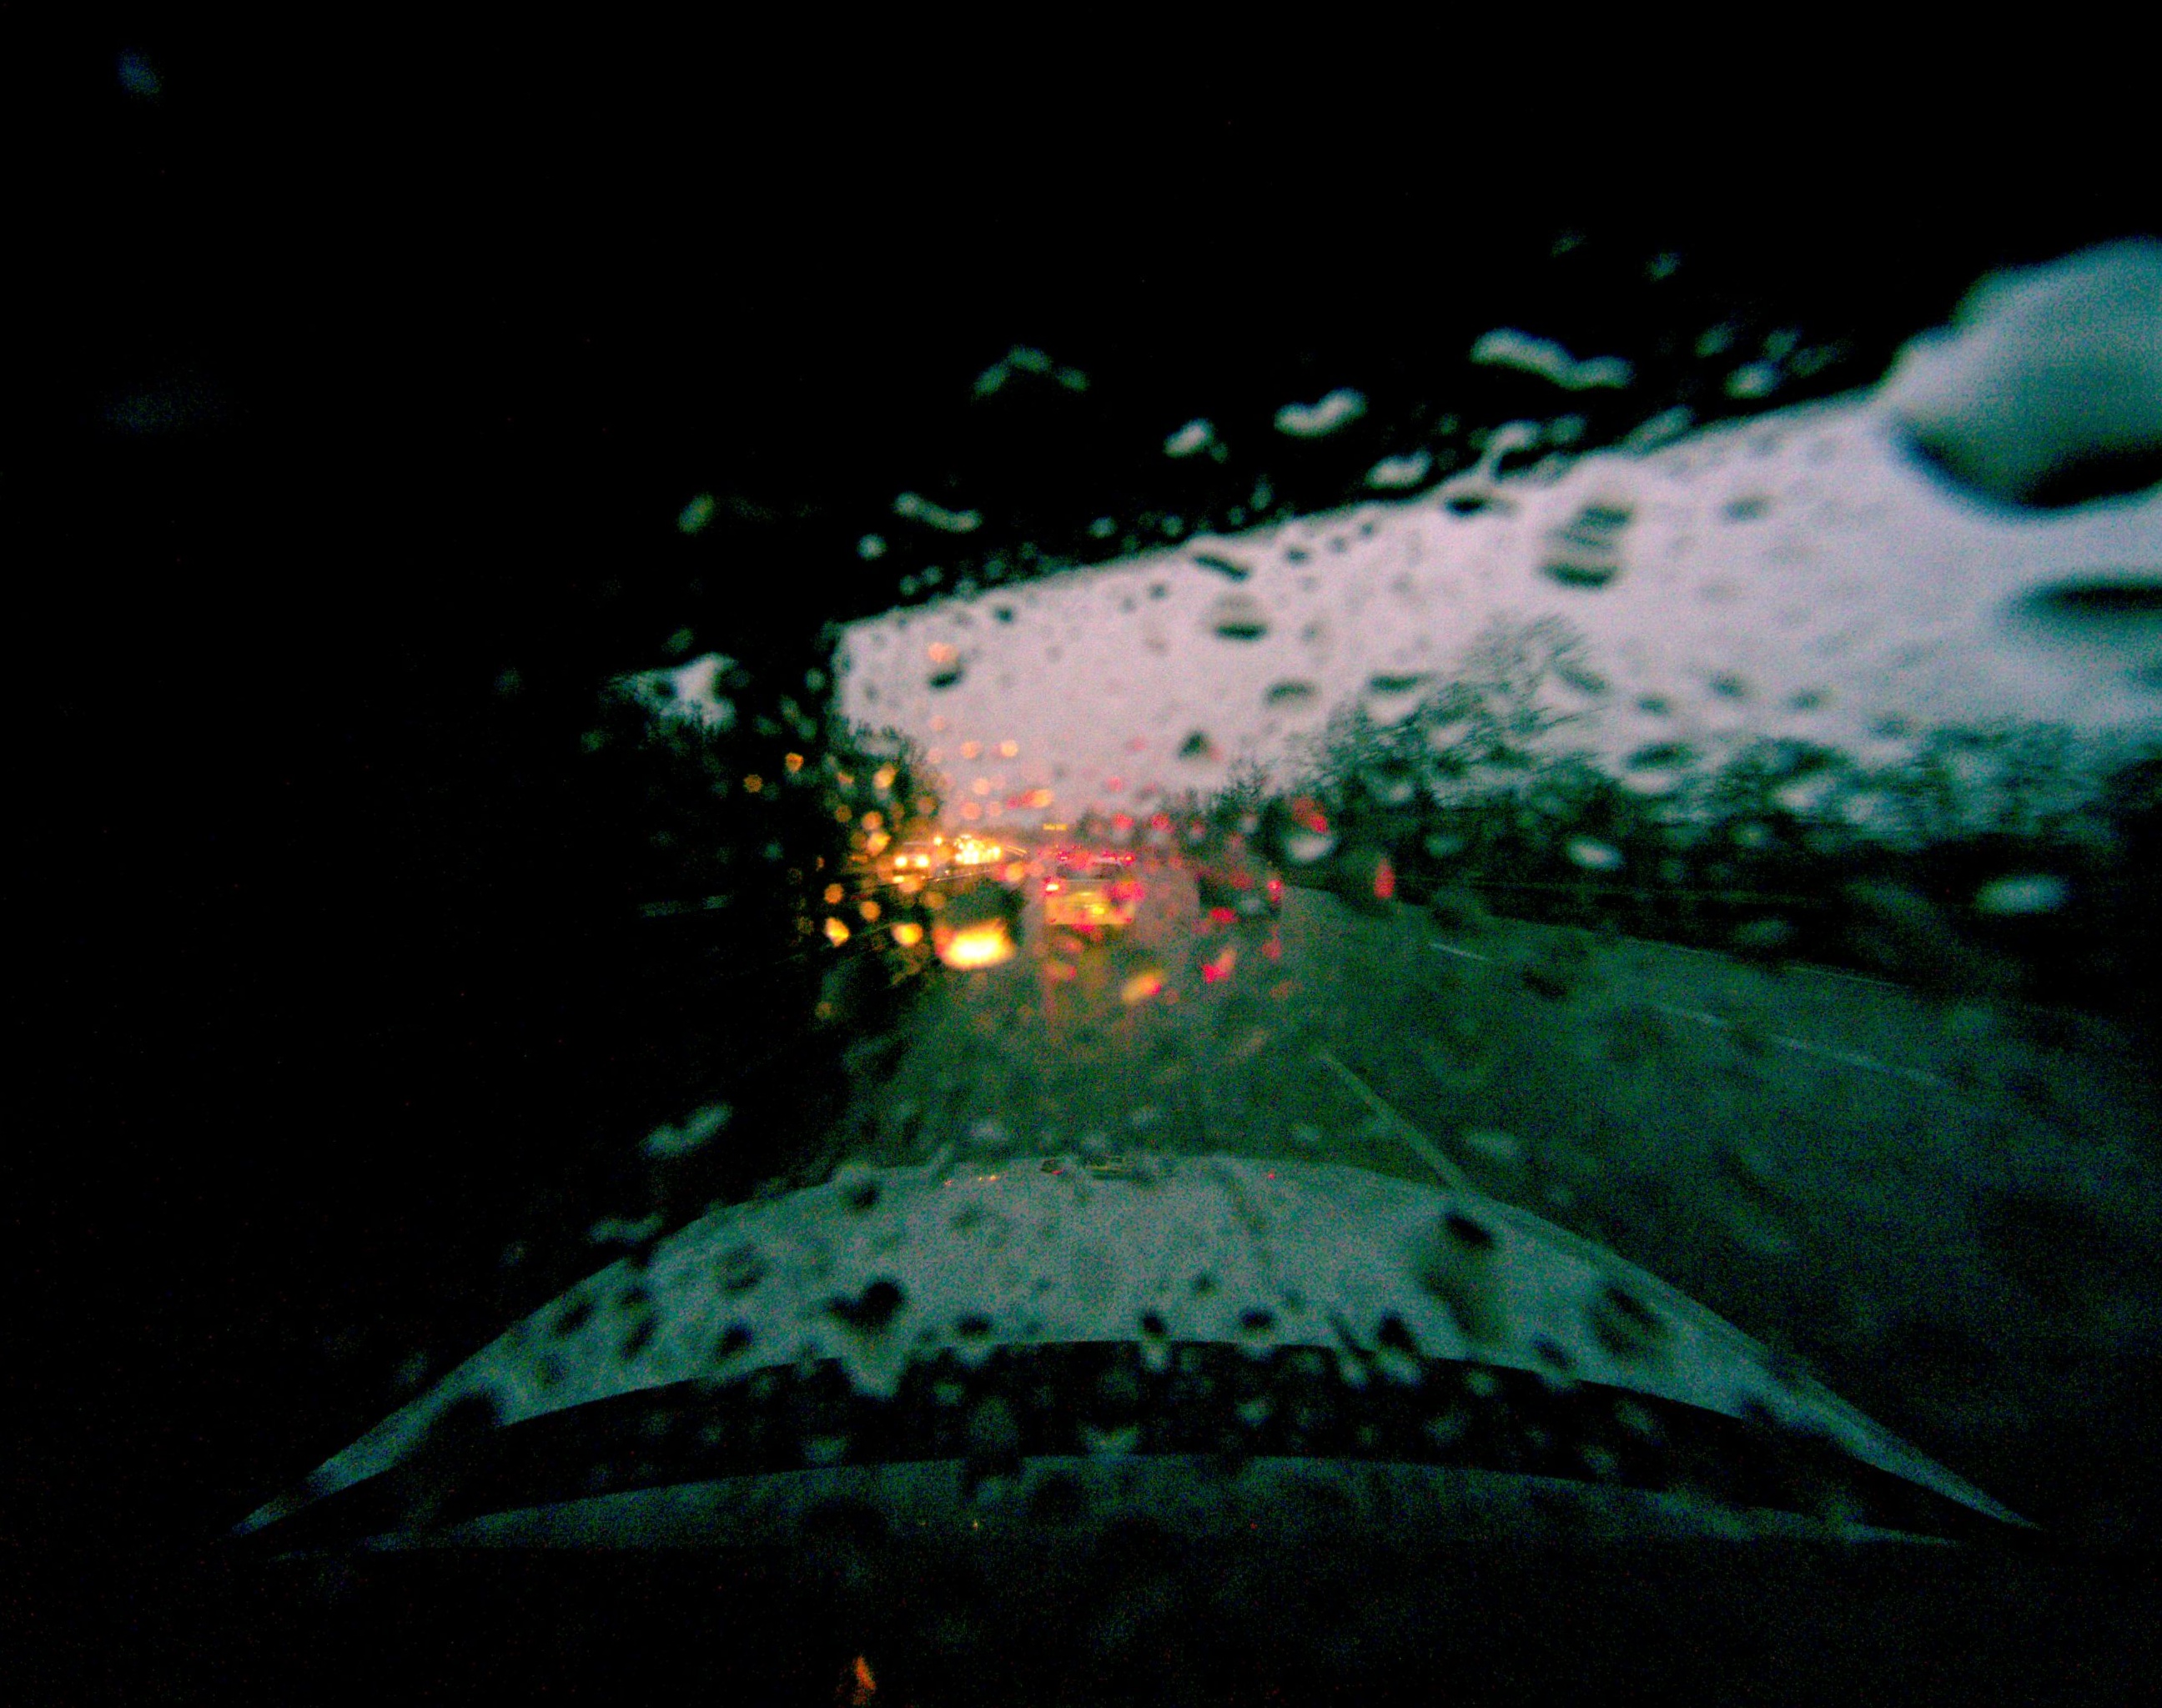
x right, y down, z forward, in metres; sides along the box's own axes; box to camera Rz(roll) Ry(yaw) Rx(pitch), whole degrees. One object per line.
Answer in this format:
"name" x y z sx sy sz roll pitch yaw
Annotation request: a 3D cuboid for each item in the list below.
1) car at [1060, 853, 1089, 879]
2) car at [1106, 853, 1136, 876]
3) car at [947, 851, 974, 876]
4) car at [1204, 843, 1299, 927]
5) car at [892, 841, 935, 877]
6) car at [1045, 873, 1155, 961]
"car" -0.567 0.990 65.560 1.990 2.014 3.992 1 -1 -5
"car" 3.251 0.907 66.799 1.929 1.546 3.766 -5 -3 -4
"car" -12.503 1.035 84.725 2.139 2.468 5.137 1 -1 -2
"car" 4.424 0.792 21.646 1.924 2.019 3.776 1 -1 3
"car" -12.063 0.405 58.952 2.139 2.468 5.138 1 -1 -1
"car" 0.452 1.209 17.061 2.016 1.575 4.002 1 -1 3
